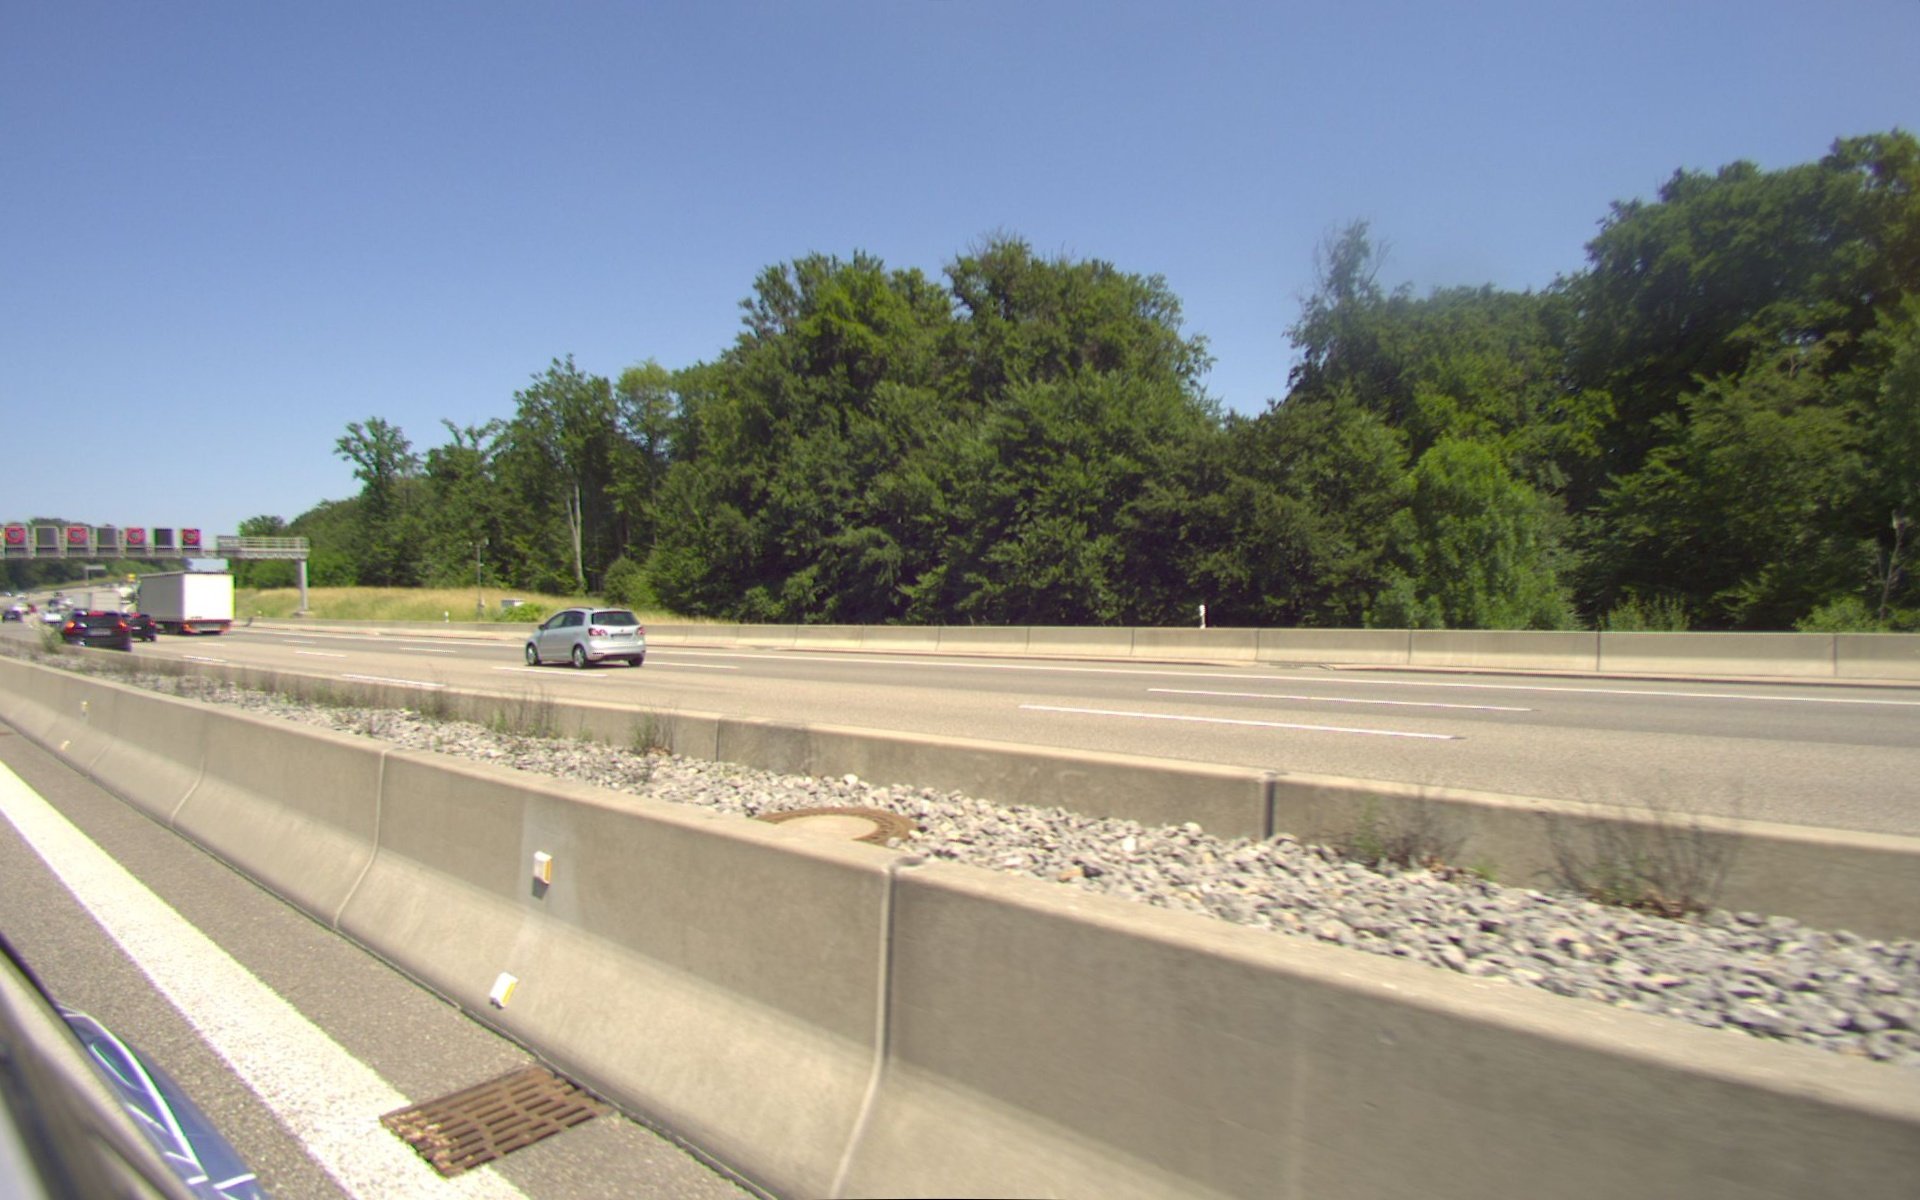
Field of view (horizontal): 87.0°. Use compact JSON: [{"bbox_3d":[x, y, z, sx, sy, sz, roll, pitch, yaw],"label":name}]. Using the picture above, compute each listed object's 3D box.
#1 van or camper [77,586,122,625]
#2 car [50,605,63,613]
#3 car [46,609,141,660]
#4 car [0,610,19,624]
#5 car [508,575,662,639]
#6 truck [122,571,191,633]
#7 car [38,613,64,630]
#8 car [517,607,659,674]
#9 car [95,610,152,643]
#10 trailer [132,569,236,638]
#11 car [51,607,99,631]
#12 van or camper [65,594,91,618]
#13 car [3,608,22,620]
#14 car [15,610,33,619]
[{"bbox_3d":[-91.476,0.522,107.521,8.218,3.867,2.798,1,2,44],"label":"van or camper"},{"bbox_3d":[-165.799,1.638,185.732,1.680,1.412,4.356,-1,2,-42],"label":"car"},{"bbox_3d":[-30.459,1.179,35.527,4.433,1.680,1.972,-1,-1,42],"label":"car"},{"bbox_3d":[-108.577,1.940,115.212,1.971,1.602,4.847,0,0,-45],"label":"car"},{"bbox_3d":[-10.050,0.202,26.959,4.376,1.543,1.973,-2,0,41],"label":"car"},{"bbox_3d":[-58.398,0.191,73.493,6.450,4.322,2.846,-1,-1,41],"label":"truck"},{"bbox_3d":[-95.305,2.234,106.116,5.120,1.776,1.720,-1,-1,44],"label":"car"},{"bbox_3d":[-9.871,1.017,26.709,4.280,1.617,1.699,-1,-1,42],"label":"car"},{"bbox_3d":[-44.899,1.389,54.287,4.361,1.531,1.742,1,2,42],"label":"car"},{"bbox_3d":[-52.764,0.273,68.584,13.951,4.295,2.835,-1,-1,41],"label":"trailer"},{"bbox_3d":[-67.319,1.416,76.952,5.030,1.741,2.262,-1,0,42],"label":"car"},{"bbox_3d":[-138.625,0.967,159.063,7.761,3.706,2.403,0,0,44],"label":"van or camper"},{"bbox_3d":[-144.700,2.170,154.497,1.965,1.750,5.348,-2,1,-45],"label":"car"},{"bbox_3d":[-158.991,2.469,171.930,2.024,1.453,5.224,0,0,-45],"label":"car"}]
